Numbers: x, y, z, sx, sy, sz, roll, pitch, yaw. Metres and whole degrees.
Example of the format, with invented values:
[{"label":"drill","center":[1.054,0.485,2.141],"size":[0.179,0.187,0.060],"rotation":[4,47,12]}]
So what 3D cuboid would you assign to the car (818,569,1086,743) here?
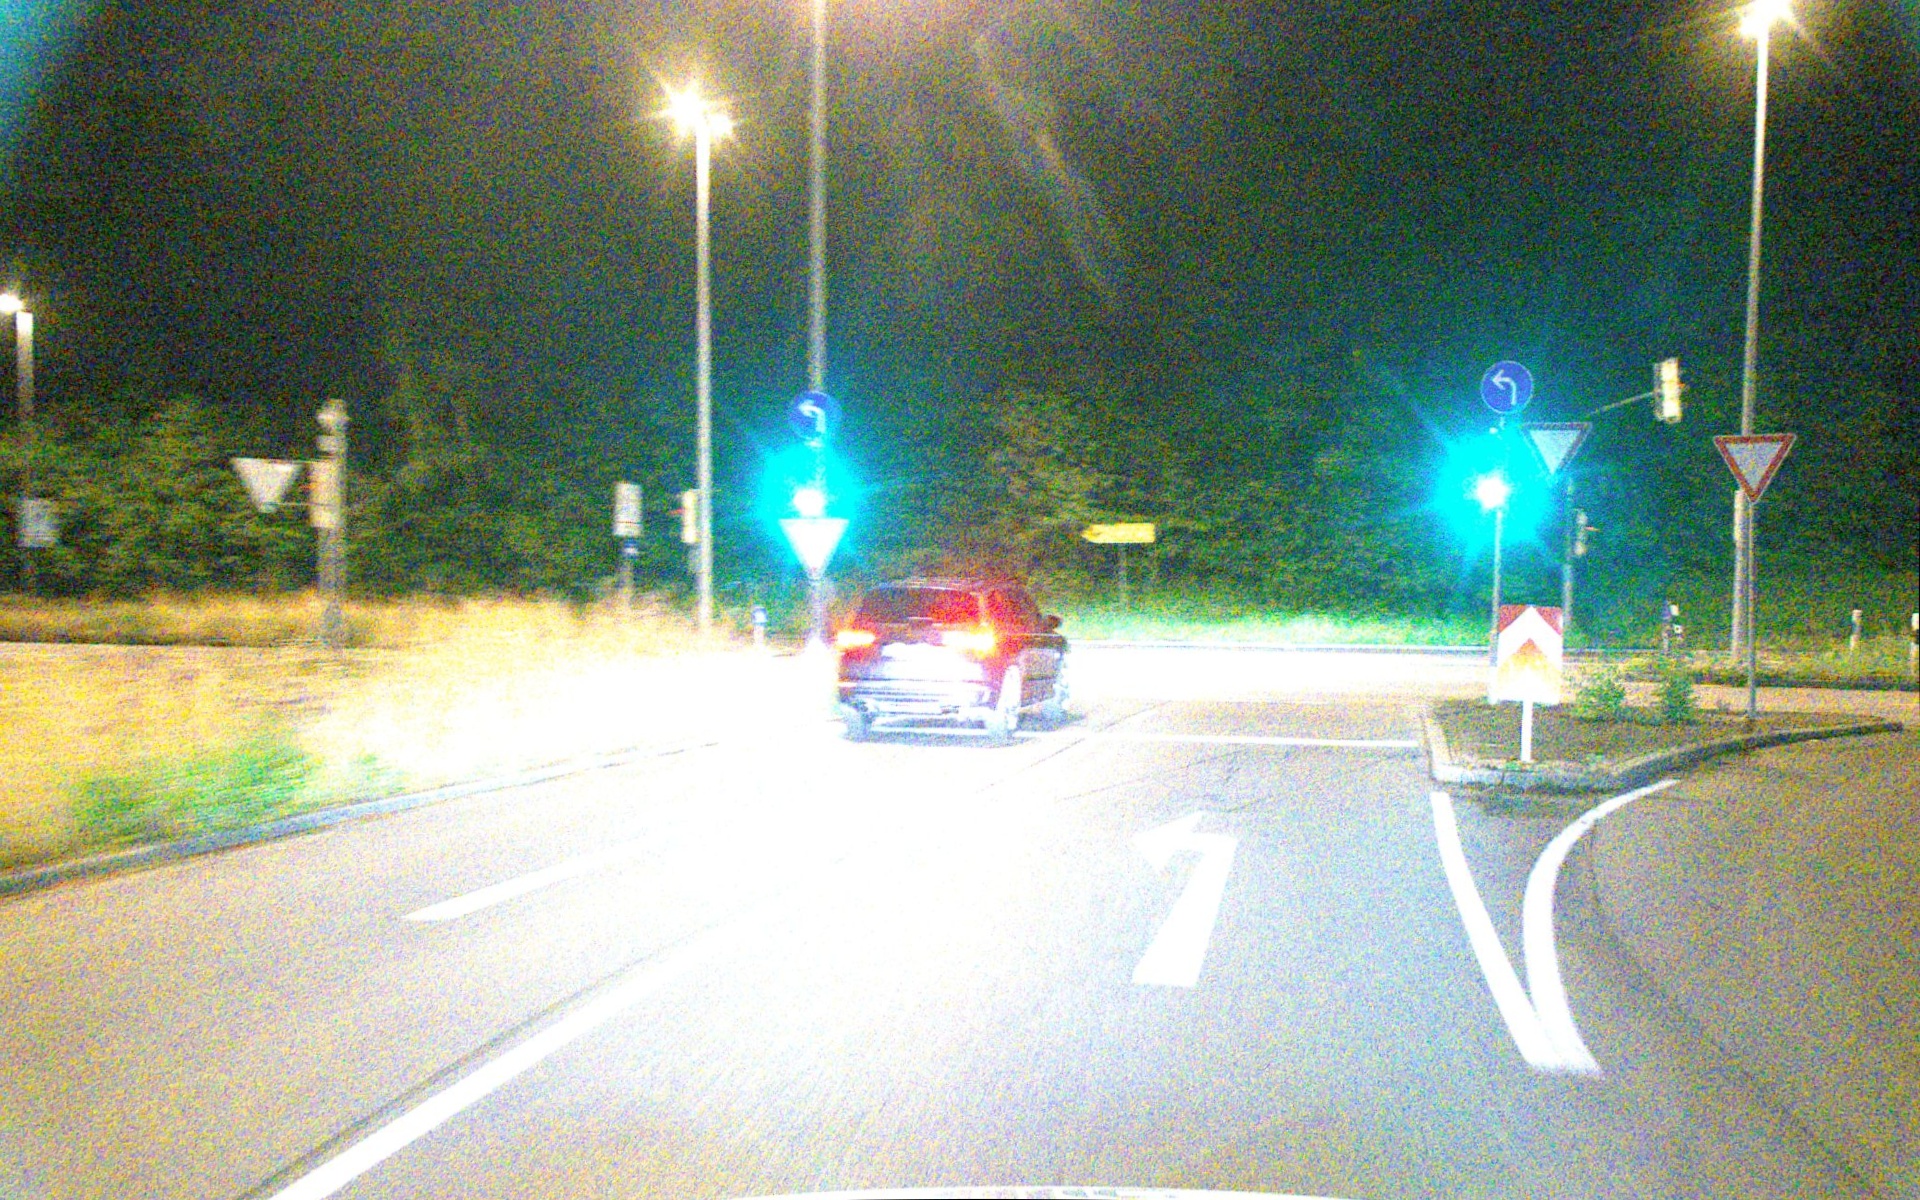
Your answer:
[{"label":"car","center":[0.047,0.514,17.830],"size":[1.813,1.610,4.009],"rotation":[1,1,16]}]
